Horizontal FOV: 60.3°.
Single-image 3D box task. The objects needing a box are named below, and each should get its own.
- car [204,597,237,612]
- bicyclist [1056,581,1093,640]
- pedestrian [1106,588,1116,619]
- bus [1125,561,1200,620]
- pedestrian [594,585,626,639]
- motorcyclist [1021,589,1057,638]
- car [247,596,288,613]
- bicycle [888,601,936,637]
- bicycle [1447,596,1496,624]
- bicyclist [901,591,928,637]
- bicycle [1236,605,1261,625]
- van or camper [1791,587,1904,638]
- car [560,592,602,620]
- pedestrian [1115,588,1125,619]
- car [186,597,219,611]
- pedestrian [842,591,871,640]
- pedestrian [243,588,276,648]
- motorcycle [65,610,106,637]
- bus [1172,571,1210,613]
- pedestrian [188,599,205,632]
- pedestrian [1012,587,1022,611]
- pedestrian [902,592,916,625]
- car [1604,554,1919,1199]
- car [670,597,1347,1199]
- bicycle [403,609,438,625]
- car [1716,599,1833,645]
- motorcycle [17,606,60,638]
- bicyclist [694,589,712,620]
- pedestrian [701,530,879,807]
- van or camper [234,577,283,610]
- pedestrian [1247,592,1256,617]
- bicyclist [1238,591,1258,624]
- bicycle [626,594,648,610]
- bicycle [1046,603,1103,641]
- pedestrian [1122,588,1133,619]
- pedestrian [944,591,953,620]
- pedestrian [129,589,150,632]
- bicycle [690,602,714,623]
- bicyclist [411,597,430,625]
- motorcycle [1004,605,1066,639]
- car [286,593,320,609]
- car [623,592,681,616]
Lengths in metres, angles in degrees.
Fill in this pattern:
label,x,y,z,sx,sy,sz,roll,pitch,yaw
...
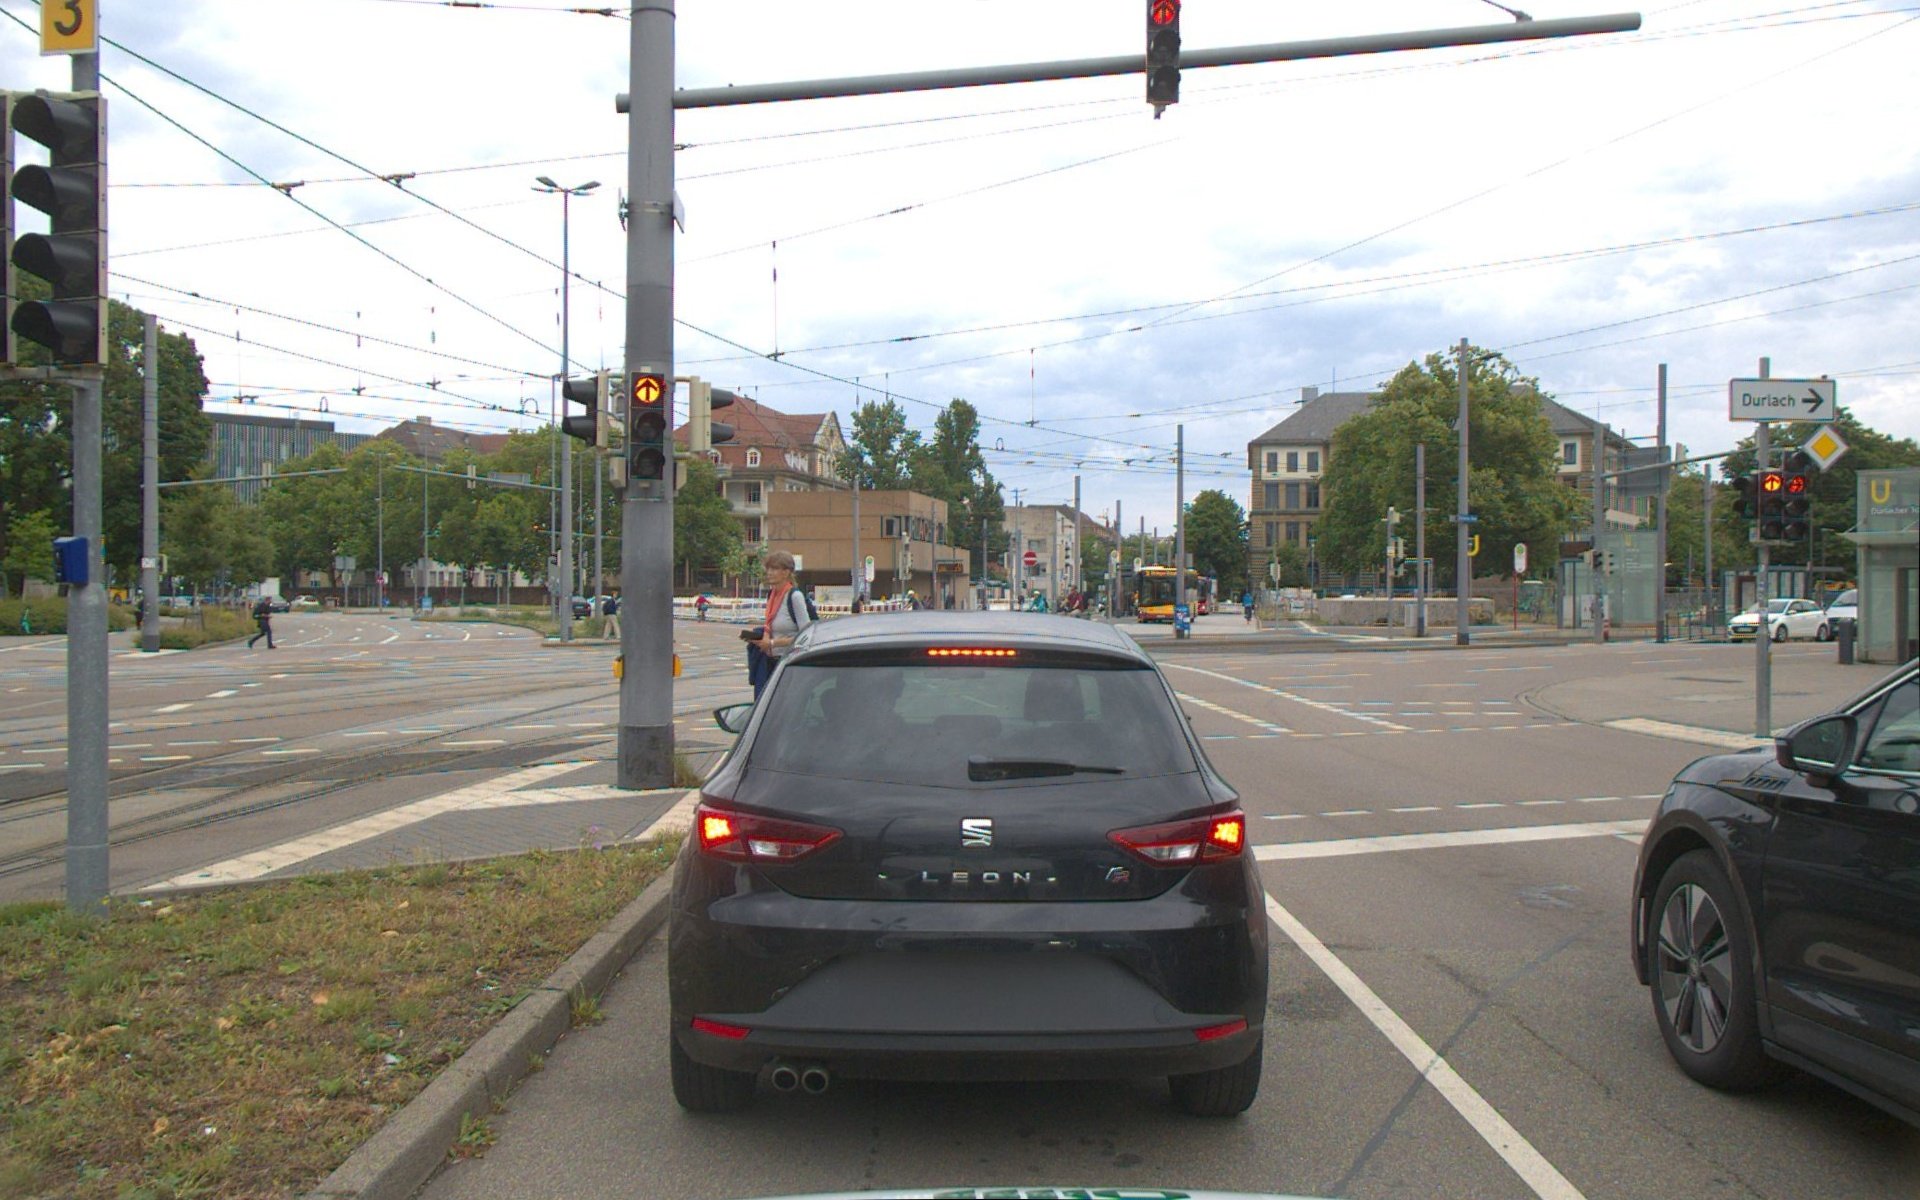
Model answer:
label,x,y,z,sx,sy,sz,roll,pitch,yaw
car,-75.335,0.440,168.551,3.932,1.489,1.770,1,1,44
bicyclist,3.766,0.339,54.335,0.764,1.931,0.990,0,0,43
pedestrian,9.510,0.201,104.227,0.608,1.951,0.699,0,0,9
bus,11.571,-0.523,93.619,2.897,3.178,11.548,0,0,14
pedestrian,-12.985,0.443,61.414,1.015,1.968,0.695,0,0,-26
motorcyclist,2.733,0.464,57.251,0.968,1.678,0.741,0,-1,-34
car,-59.594,0.386,142.317,3.930,1.489,1.770,0,0,43
bicycle,-1.792,0.706,62.292,1.707,1.345,0.641,0,0,-23
bicycle,25.538,0.494,82.621,2.214,1.354,0.707,-1,-1,6
bicyclist,-1.727,0.520,62.327,0.842,1.702,0.650,0,0,-23
bicycle,16.686,0.849,95.722,0.849,1.124,2.299,0,0,-5
van or camper,32.126,0.468,59.825,4.257,1.773,1.974,0,-1,-36
car,-23.932,0.385,104.378,1.966,1.713,3.973,0,-1,-22
pedestrian,10.191,0.216,105.588,0.608,1.951,0.711,0,0,2
car,-80.675,0.432,176.152,3.927,1.489,1.772,1,1,41
pedestrian,-4.222,0.627,67.371,0.687,1.968,1.026,0,0,38
pedestrian,-24.284,0.621,57.380,1.006,2.049,0.841,0,0,-20
motorcycle,-36.966,0.984,69.936,0.499,1.130,1.746,0,0,12
bus,19.177,-0.656,136.946,2.597,3.340,11.004,0,0,10
pedestrian,-47.684,0.974,103.306,0.865,2.016,0.791,0,-1,-19
pedestrian,4.837,-0.082,139.578,0.609,1.952,0.710,-1,-1,25
pedestrian,-2.976,0.493,96.507,0.693,1.951,0.624,0,0,7
car,3.270,0.702,3.757,1.741,1.625,4.508,0,0,-2
car,-0.016,0.734,5.966,1.671,1.474,3.808,0,0,-5
bicycle,-40.885,1.279,125.360,0.921,1.199,2.726,0,0,28
car,27.484,0.731,55.771,3.948,1.490,1.756,0,-1,-32
motorcycle,-37.885,0.882,67.994,0.503,1.290,1.463,0,0,43
bicyclist,-14.693,0.238,94.466,0.870,1.762,0.888,0,0,-22
pedestrian,-1.249,0.485,12.225,1.096,1.940,0.724,1,-1,-44
van or camper,-69.226,-0.618,163.185,5.403,3.179,2.382,0,0,41
pedestrian,24.596,0.379,139.510,0.648,2.049,0.691,0,0,-1
bicyclist,16.678,0.428,95.772,0.854,1.884,1.046,0,0,-6
bicycle,-25.377,0.160,129.911,0.427,1.258,1.817,-2,-2,42
bicycle,3.763,0.700,54.321,0.764,1.205,2.019,0,0,43
pedestrian,10.598,0.196,104.614,0.608,1.951,0.699,0,0,9
pedestrian,-0.770,0.385,112.615,0.608,1.951,0.711,0,0,2
pedestrian,-38.807,0.504,78.216,0.787,2.016,0.870,1,-2,-35
bicycle,-14.788,0.718,94.731,0.879,1.199,2.286,0,0,-22
bicyclist,-40.890,0.838,125.362,0.919,2.049,0.977,0,0,28
motorcycle,2.598,0.745,57.143,2.115,1.159,0.735,0,0,-34
car,-64.578,0.110,162.461,1.768,1.489,3.935,0,1,-44
car,-22.859,0.289,122.666,3.905,1.713,2.000,0,-1,0
